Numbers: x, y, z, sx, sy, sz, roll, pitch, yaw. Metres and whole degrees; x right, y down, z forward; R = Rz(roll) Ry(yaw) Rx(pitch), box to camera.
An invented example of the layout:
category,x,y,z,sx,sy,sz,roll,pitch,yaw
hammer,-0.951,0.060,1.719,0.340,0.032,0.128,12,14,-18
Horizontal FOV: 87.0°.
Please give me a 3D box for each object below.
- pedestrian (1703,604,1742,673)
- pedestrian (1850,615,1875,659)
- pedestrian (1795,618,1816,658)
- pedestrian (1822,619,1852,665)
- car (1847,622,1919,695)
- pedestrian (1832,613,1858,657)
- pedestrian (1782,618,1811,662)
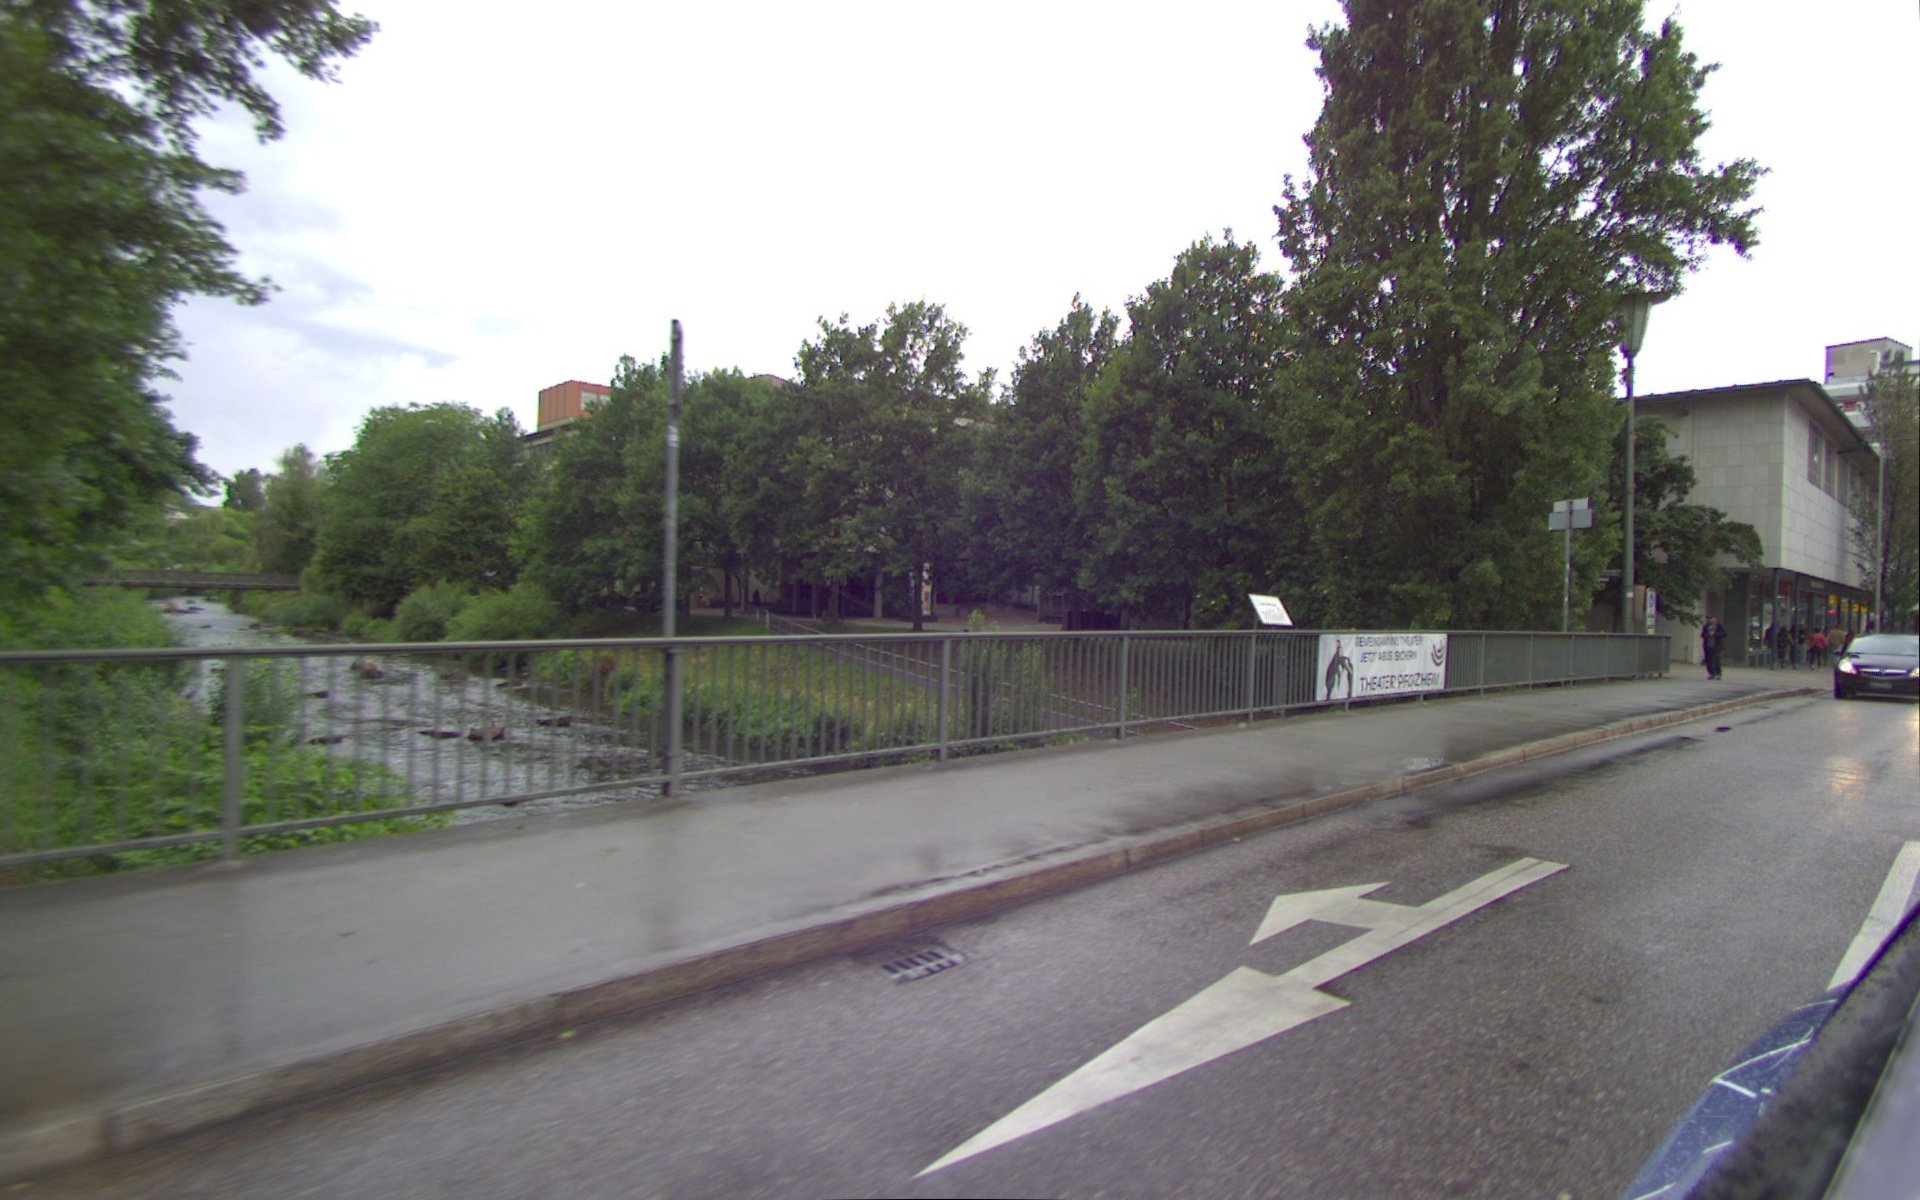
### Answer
category,x,y,z,sx,sy,sz,roll,pitch,yaw
pedestrian,19.224,0.977,25.504,0.553,1.685,0.640,3,0,-43
pedestrian,37.904,1.532,42.501,0.907,1.789,0.654,2,1,-43
pedestrian,37.305,1.663,44.643,0.524,1.740,0.538,2,0,-34
pedestrian,32.977,1.564,38.039,0.756,1.640,0.718,2,1,-43
car,21.036,1.282,22.481,3.679,1.476,1.709,2,-1,-44
pedestrian,37.561,1.482,42.949,0.596,1.824,0.699,2,1,-43
pedestrian,32.142,1.532,38.886,0.596,1.609,0.727,2,1,-43
